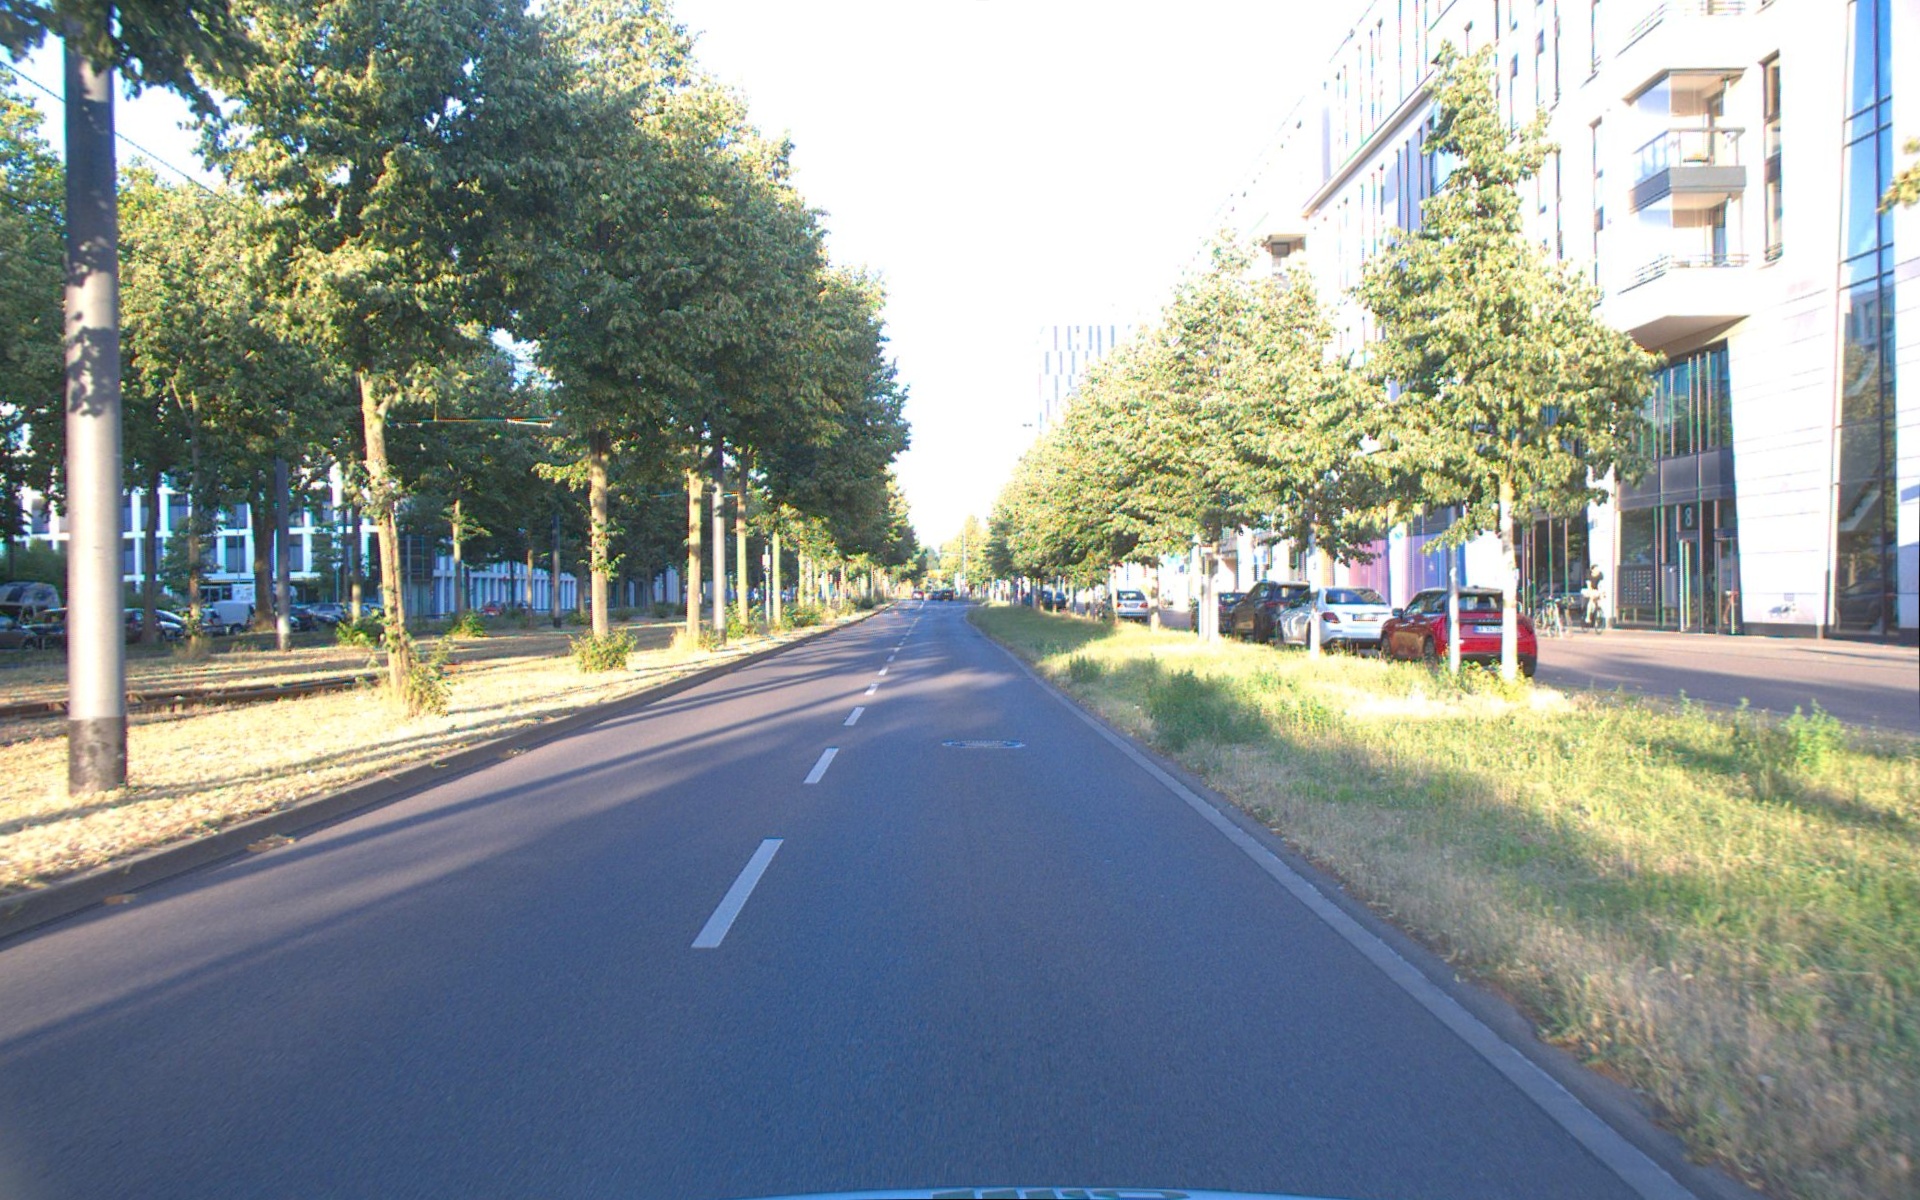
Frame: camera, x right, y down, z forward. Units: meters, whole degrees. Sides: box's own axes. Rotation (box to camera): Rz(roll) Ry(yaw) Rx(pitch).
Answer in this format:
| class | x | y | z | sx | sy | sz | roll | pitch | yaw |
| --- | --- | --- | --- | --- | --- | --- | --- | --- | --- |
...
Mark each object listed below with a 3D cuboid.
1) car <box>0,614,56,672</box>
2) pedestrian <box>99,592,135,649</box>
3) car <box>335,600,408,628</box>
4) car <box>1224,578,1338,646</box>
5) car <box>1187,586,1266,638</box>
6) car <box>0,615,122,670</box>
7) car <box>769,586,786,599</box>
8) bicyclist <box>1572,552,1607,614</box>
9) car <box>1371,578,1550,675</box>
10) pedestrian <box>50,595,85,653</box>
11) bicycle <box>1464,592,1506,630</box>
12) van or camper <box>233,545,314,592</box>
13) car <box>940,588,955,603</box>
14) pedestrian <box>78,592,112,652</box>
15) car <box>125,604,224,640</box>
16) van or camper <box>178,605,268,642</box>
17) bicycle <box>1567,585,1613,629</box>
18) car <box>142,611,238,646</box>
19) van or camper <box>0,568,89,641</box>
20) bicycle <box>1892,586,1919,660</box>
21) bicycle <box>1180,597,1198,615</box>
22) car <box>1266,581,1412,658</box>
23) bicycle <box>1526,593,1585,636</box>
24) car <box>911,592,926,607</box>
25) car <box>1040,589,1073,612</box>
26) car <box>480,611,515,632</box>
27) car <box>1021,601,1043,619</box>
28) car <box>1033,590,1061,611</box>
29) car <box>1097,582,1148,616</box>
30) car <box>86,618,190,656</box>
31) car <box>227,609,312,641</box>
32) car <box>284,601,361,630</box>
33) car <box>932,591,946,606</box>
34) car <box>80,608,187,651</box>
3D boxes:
| class | x | y | z | sx | sy | sz | roll | pitch | yaw |
| --- | --- | --- | --- | --- | --- | --- | --- | --- | --- |
| car | -30.752 | 1.364 | 52.153 | 1.951 | 1.780 | 4.162 | -1 | 0 | 4 |
| pedestrian | -26.567 | 0.631 | 52.116 | 0.679 | 1.773 | 0.866 | -1 | 0 | -3 |
| car | -36.572 | 0.865 | 102.858 | 3.909 | 1.668 | 1.920 | -1 | 0 | -5 |
| car | 8.351 | 0.286 | 43.493 | 1.914 | 1.652 | 4.819 | 1 | 0 | -2 |
| car | 8.141 | 0.327 | 50.869 | 1.689 | 1.527 | 4.232 | 0 | 0 | -1 |
| car | -31.217 | 1.432 | 57.390 | 1.953 | 1.780 | 4.789 | -1 | 0 | -2 |
| car | -23.522 | -1.006 | 213.569 | 1.847 | 1.605 | 4.181 | -1 | 0 | -2 |
| bicyclist | 16.562 | -0.447 | 43.533 | 0.533 | 1.596 | 1.020 | -1 | 0 | 2 |
| car | 8.474 | 0.413 | 28.346 | 1.772 | 1.527 | 3.958 | -1 | 0 | -2 |
| pedestrian | -28.098 | 0.753 | 52.062 | 0.680 | 1.789 | 0.864 | -1 | 0 | -9 |
| bicycle | 15.154 | 0.320 | 47.785 | 0.523 | 1.078 | 1.610 | -1 | 0 | -6 |
| van or camper | -46.848 | -2.112 | 113.028 | 2.654 | 3.139 | 6.264 | -1 | 0 | 3 |
| car | -1.668 | -0.596 | 220.399 | 1.953 | 2.049 | 3.999 | -1 | 0 | -2 |
| pedestrian | -27.437 | 0.694 | 52.475 | 0.680 | 1.903 | 0.864 | -1 | 0 | -9 |
| car | -38.289 | 1.056 | 80.684 | 3.909 | 1.668 | 1.920 | -1 | 0 | -5 |
| van or camper | -38.599 | 1.222 | 86.662 | 3.916 | 1.822 | 1.995 | -1 | 0 | -11 |
| bicycle | 16.580 | 0.179 | 43.574 | 0.532 | 1.137 | 1.913 | -1 | 0 | 2 |
| car | -38.912 | 1.421 | 83.665 | 3.909 | 1.668 | 1.920 | -1 | 0 | -5 |
| van or camper | -37.211 | 0.184 | 66.088 | 2.043 | 2.783 | 5.492 | -1 | 0 | -2 |
| bicycle | 15.514 | 0.364 | 26.013 | 0.535 | 1.148 | 1.867 | -2 | 0 | -3 |
| bicycle | 13.644 | 0.353 | 98.501 | 0.523 | 1.079 | 1.776 | -3 | 0 | -10 |
| car | 8.140 | 0.383 | 36.020 | 1.882 | 1.527 | 5.008 | -1 | 0 | -2 |
| bicycle | 15.083 | 0.355 | 41.947 | 0.607 | 1.051 | 2.260 | -1 | 0 | -2 |
| car | -5.858 | -0.100 | 234.343 | 2.045 | 2.049 | 3.999 | -1 | 0 | -2 |
| car | 7.037 | 0.038 | 121.062 | 1.905 | 1.576 | 4.809 | -1 | 0 | -3 |
| car | -36.945 | 1.736 | 132.200 | 1.822 | 1.609 | 3.492 | -1 | 0 | 0 |
| car | 6.423 | 0.867 | 147.060 | 1.689 | 1.556 | 4.267 | 1 | 0 | -1 |
| car | 6.719 | 0.041 | 128.295 | 1.817 | 1.556 | 4.481 | 1 | 0 | -1 |
| car | 7.545 | -0.065 | 77.190 | 1.772 | 1.527 | 4.824 | -1 | 0 | -2 |
| car | -38.745 | 1.722 | 77.988 | 3.905 | 1.668 | 1.922 | -1 | 0 | 0 |
| car | -38.645 | 1.401 | 92.640 | 3.902 | 1.668 | 1.923 | -1 | 0 | 6 |
| car | -38.565 | 0.946 | 100.151 | 3.909 | 1.668 | 1.920 | -1 | 0 | -5 |
| car | -3.020 | -0.185 | 239.358 | 1.953 | 2.049 | 4.000 | -1 | 0 | -1 |
| car | -31.505 | 1.104 | 63.136 | 1.952 | 1.512 | 4.001 | -1 | 0 | 2 |
